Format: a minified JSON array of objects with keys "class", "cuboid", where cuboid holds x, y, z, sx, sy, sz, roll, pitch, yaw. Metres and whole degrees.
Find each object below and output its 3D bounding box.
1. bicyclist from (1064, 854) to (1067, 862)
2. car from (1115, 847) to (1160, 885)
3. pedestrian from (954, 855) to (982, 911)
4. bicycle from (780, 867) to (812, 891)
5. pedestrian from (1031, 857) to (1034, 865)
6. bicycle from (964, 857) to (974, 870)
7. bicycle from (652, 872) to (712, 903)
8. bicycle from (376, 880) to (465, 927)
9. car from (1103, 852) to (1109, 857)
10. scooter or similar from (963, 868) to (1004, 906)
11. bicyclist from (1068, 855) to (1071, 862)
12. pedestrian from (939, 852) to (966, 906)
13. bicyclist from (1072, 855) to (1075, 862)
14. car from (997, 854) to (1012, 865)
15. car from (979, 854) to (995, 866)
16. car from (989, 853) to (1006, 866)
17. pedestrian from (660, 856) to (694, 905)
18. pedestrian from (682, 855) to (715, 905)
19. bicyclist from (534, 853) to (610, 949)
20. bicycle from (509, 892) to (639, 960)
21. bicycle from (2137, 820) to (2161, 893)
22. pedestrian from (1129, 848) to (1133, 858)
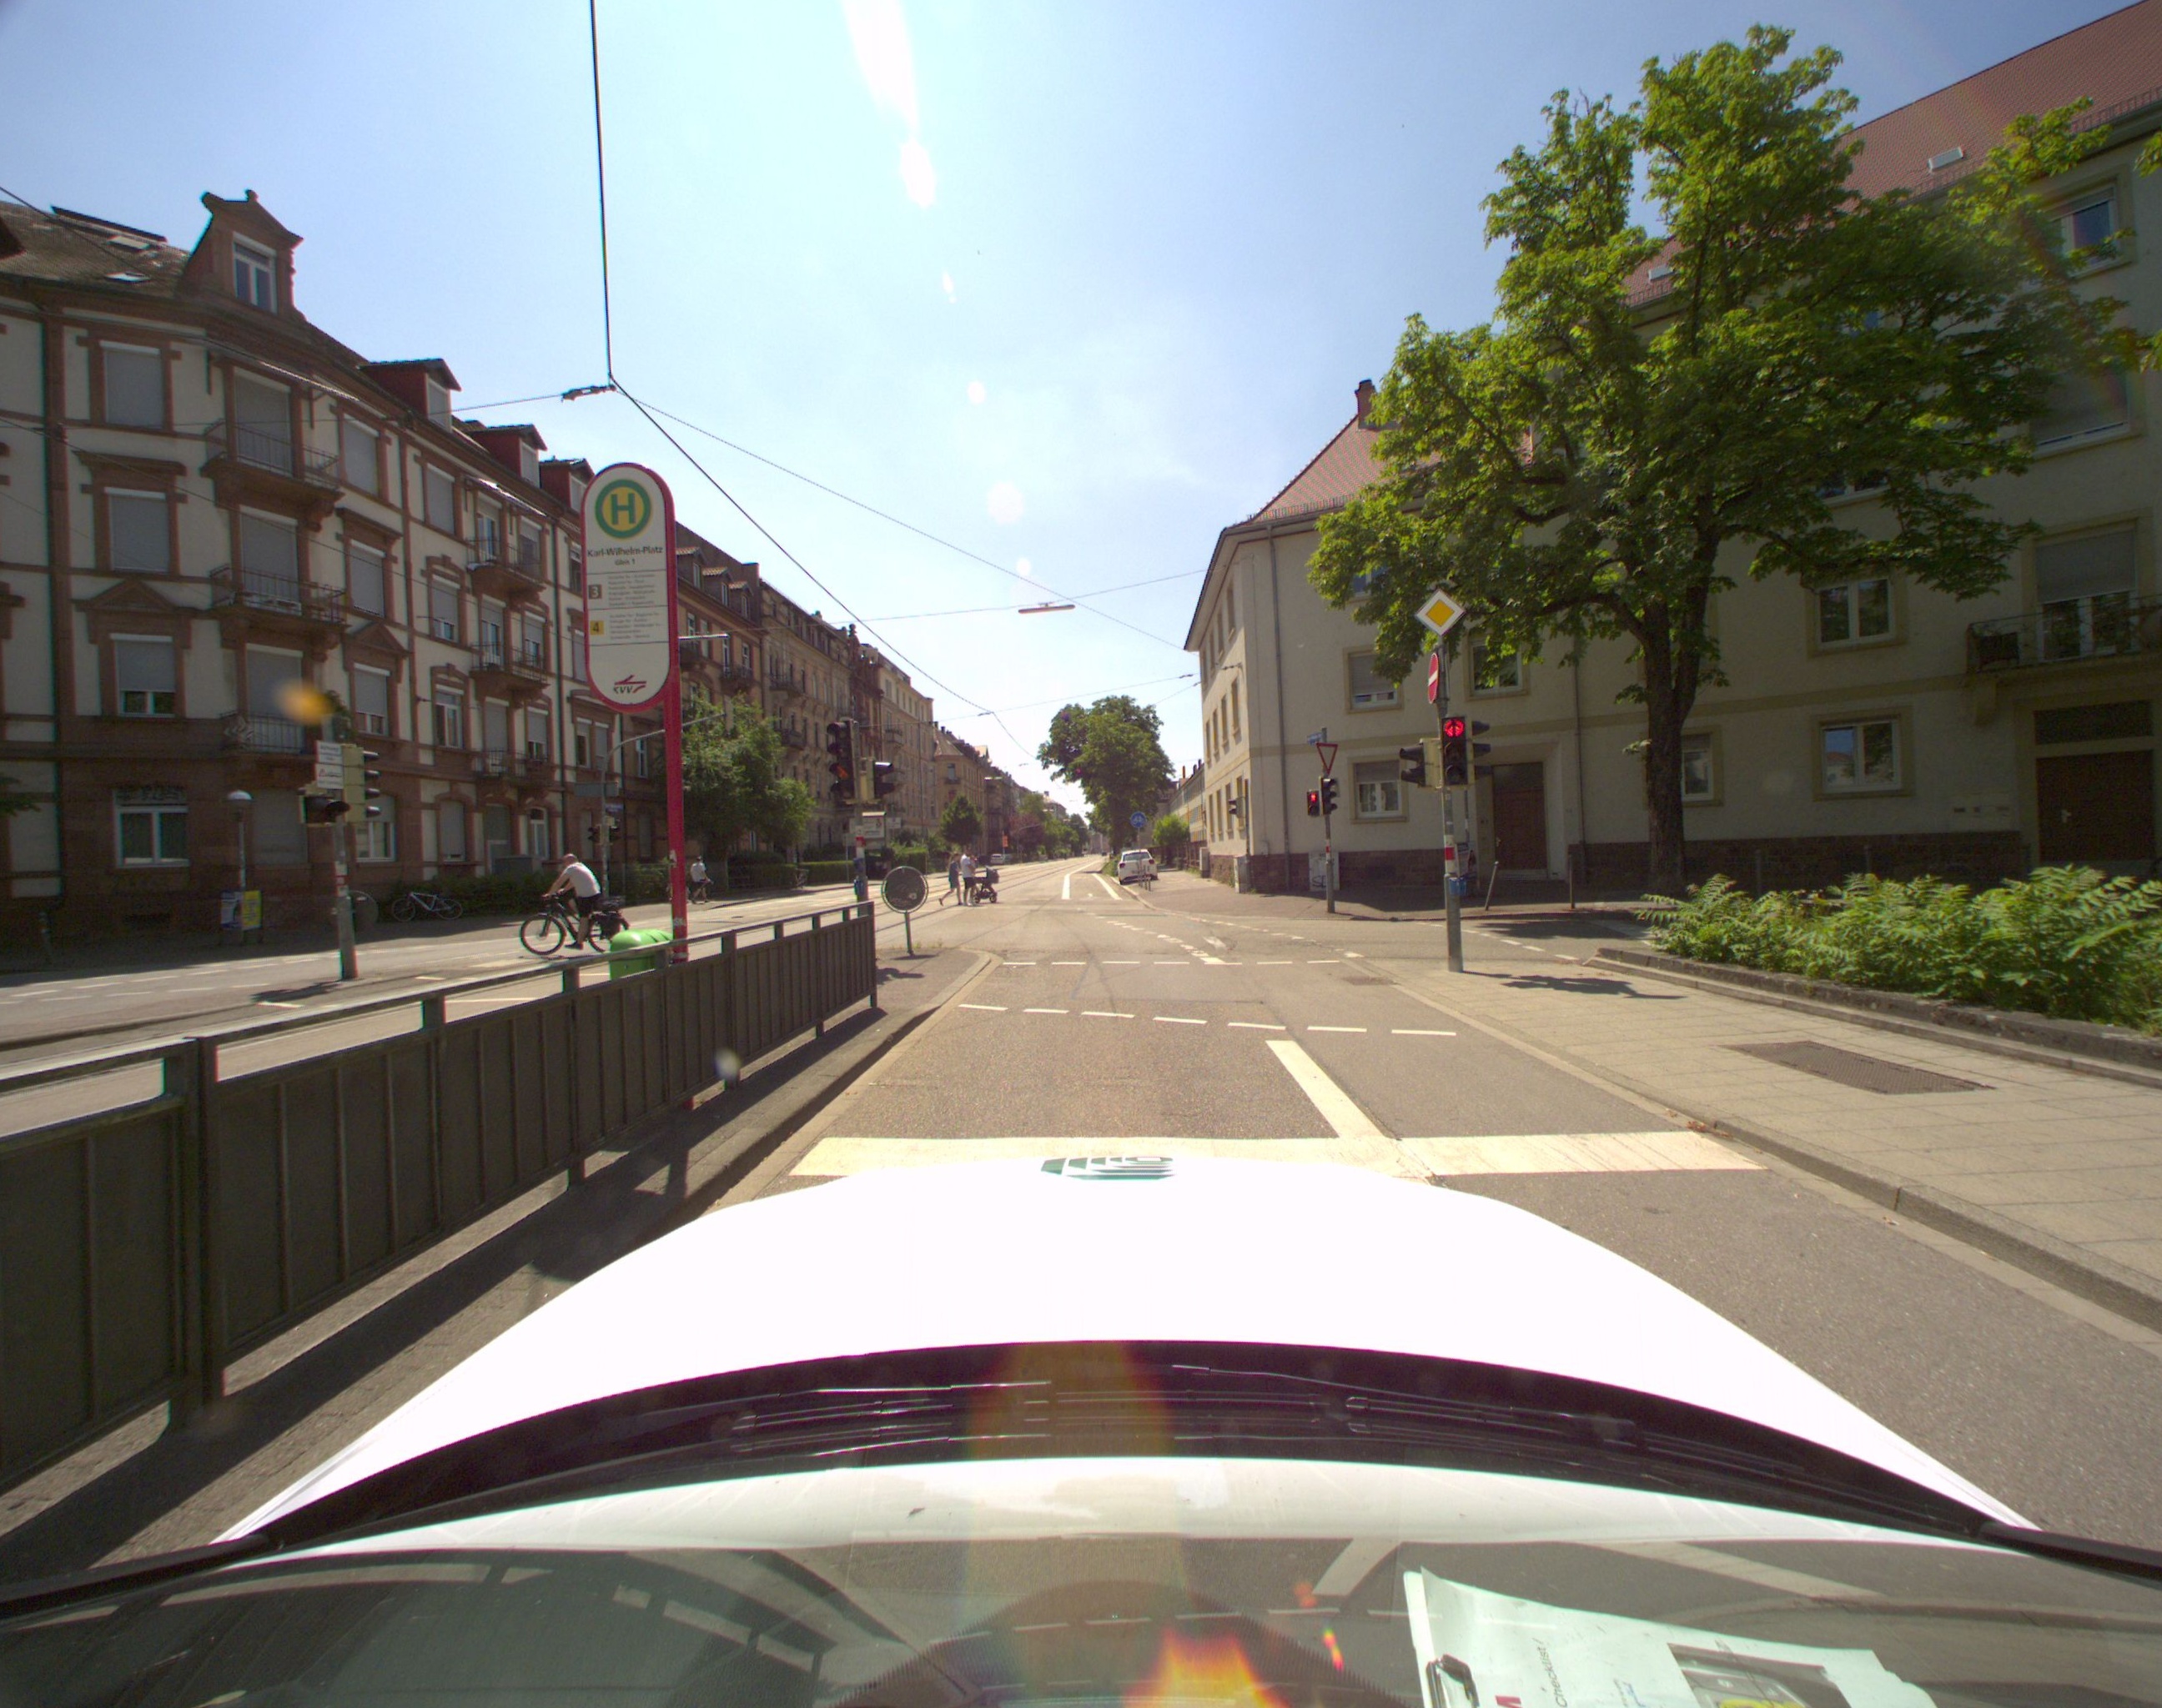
[{"class":"bicyclist","cuboid":[-3.558,0.952,186.856,0.724,1.768,1.080,0,-1,3]},{"class":"car","cuboid":[2.524,0.531,37.415,1.808,1.516,4.001,-4,-1,2]},{"class":"pedestrian","cuboid":[-3.327,0.850,24.003,0.671,1.645,0.560,-1,-1,9]},{"class":"bicycle","cuboid":[-14.409,1.254,41.250,0.936,1.136,2.767,0,-1,-7]},{"class":"pedestrian","cuboid":[-8.244,1.192,139.269,0.404,1.461,0.436,-2,0,1]},{"class":"bicycle","cuboid":[-11.711,0.951,85.131,0.675,1.278,1.918,-2,0,-1]},{"class":"bicycle","cuboid":[-15.672,1.301,32.077,0.934,1.136,2.774,0,-1,1]},{"class":"bicycle","cuboid":[-19.557,1.440,24.155,0.557,1.294,1.975,-1,-1,43]},{"class":"car","cuboid":[8.022,0.240,258.949,1.818,1.519,4.001,0,0,2]},{"class":"scooter or similar","cuboid":[-2.997,1.009,25.068,1.199,1.155,0.558,0,-1,-4]},{"class":"bicyclist","cuboid":[-2.867,1.119,205.213,0.724,1.818,1.080,0,-1,3]},{"class":"pedestrian","cuboid":[-3.939,0.765,25.008,0.671,1.645,0.560,-1,-1,9]},{"class":"bicyclist","cuboid":[-1.880,1.080,205.115,0.724,1.818,1.080,0,-1,3]},{"class":"car","cuboid":[-11.661,0.864,124.325,1.912,1.715,4.001,0,-1,2]},{"class":"car","cuboid":[-14.333,0.885,124.463,1.912,1.715,4.001,0,-1,2]},{"class":"car","cuboid":[-11.882,0.800,116.060,1.912,1.715,4.001,0,-1,2]},{"class":"pedestrian","cuboid":[-15.235,0.987,30.728,0.813,1.822,0.874,0,1,1]},{"class":"pedestrian","cuboid":[-14.462,0.976,30.800,0.813,1.822,0.874,0,1,1]},{"class":"bicyclist","cuboid":[-8.762,0.791,14.051,0.844,1.592,0.699,-2,-1,-2]},{"class":"bicycle","cuboid":[-8.726,1.219,14.053,1.756,1.057,0.699,-2,-1,-2]},{"class":"bicycle","cuboid":[17.008,0.023,12.079,0.527,1.104,1.589,-2,0,-34]},{"class":"pedestrian","cuboid":[7.727,-0.205,125.008,0.519,1.562,0.573,-2,0,1]}]
